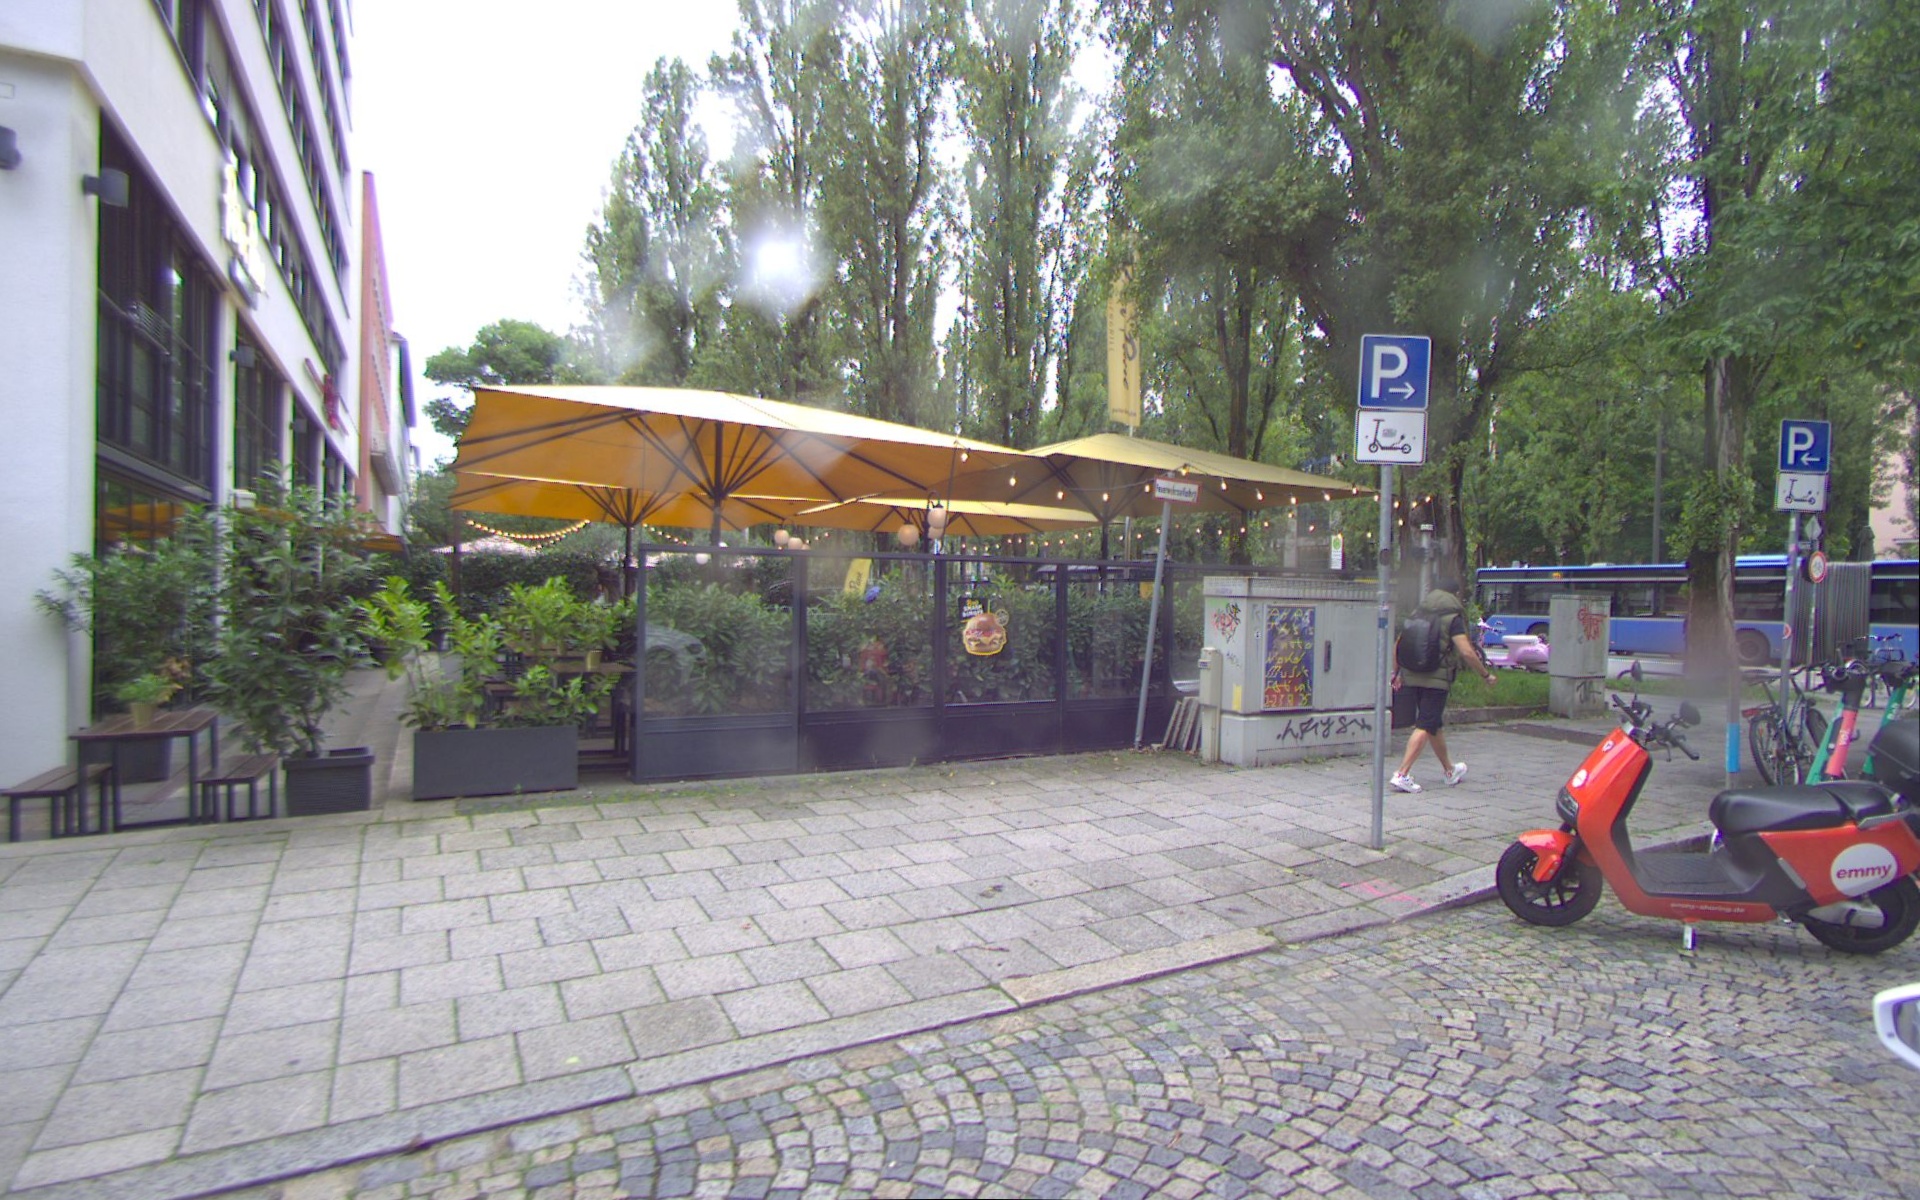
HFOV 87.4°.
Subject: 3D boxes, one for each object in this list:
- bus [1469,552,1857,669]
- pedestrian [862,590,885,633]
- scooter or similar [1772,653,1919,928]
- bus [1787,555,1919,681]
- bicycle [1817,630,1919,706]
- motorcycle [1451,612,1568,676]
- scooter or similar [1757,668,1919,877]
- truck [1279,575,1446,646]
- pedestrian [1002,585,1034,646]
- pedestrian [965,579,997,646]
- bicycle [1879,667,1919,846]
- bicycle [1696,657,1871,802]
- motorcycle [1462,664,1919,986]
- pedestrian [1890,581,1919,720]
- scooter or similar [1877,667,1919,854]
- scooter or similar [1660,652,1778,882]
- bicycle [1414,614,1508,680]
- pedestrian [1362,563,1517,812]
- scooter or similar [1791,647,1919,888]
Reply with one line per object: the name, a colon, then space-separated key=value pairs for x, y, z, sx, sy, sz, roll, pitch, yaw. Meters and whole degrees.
bus: x=21.393 y=0.283 z=31.545 sx=2.891 sy=3.092 sz=9.722 roll=1 pitch=0 yaw=-28
pedestrian: x=-3.484 y=0.466 z=40.513 sx=0.726 sy=1.715 sz=0.643 roll=1 pitch=0 yaw=-24
scooter or similar: x=4.812 y=0.926 z=5.155 sx=1.336 sy=1.290 sz=0.326 roll=1 pitch=0 yaw=-19
bus: x=25.466 y=0.459 z=23.932 sx=2.890 sy=3.092 sz=8.455 roll=1 pitch=0 yaw=-28
bicycle: x=13.919 y=1.017 z=15.308 sx=1.956 sy=1.108 sz=0.489 roll=1 pitch=0 yaw=-24
motorcycle: x=10.891 y=0.858 z=19.969 sx=1.951 sy=1.212 sz=0.629 roll=0 pitch=0 yaw=18
scooter or similar: x=5.675 y=1.043 z=6.125 sx=0.323 sy=1.159 sz=1.242 roll=1 pitch=0 yaw=-28
truck: x=17.881 y=0.428 z=45.138 sx=2.568 sy=2.946 sz=7.031 roll=1 pitch=0 yaw=-27
pedestrian: x=1.715 y=0.453 z=29.475 sx=0.635 sy=1.751 sz=0.700 roll=1 pitch=0 yaw=38
pedestrian: x=0.615 y=0.361 z=29.470 sx=0.635 sy=1.933 sz=0.700 roll=1 pitch=0 yaw=38
bicycle: x=7.182 y=1.067 z=6.487 sx=1.731 sy=1.158 sz=0.553 roll=1 pitch=0 yaw=31
bicycle: x=6.798 y=1.020 z=8.269 sx=1.742 sy=1.036 sz=0.549 roll=1 pitch=0 yaw=-31
motorcycle: x=3.464 y=0.952 z=4.619 sx=1.951 sy=1.212 sz=0.771 roll=1 pitch=0 yaw=18
pedestrian: x=12.404 y=0.633 z=12.543 sx=0.848 sy=1.734 sz=0.951 roll=1 pitch=0 yaw=-30
scooter or similar: x=6.618 y=1.035 z=6.169 sx=1.408 sy=1.159 sz=0.368 roll=1 pitch=0 yaw=38
scooter or similar: x=4.603 y=0.949 z=6.142 sx=0.383 sy=1.196 sz=1.249 roll=1 pitch=0 yaw=29
bicycle: x=9.781 y=0.898 z=19.677 sx=0.576 sy=1.204 sz=1.604 roll=1 pitch=0 yaw=-28
pedestrian: x=3.691 y=0.630 z=7.757 sx=0.697 sy=1.797 sz=0.746 roll=1 pitch=2 yaw=-29
scooter or similar: x=5.439 y=0.934 z=5.565 sx=1.229 sy=1.290 sz=0.327 roll=1 pitch=0 yaw=31
